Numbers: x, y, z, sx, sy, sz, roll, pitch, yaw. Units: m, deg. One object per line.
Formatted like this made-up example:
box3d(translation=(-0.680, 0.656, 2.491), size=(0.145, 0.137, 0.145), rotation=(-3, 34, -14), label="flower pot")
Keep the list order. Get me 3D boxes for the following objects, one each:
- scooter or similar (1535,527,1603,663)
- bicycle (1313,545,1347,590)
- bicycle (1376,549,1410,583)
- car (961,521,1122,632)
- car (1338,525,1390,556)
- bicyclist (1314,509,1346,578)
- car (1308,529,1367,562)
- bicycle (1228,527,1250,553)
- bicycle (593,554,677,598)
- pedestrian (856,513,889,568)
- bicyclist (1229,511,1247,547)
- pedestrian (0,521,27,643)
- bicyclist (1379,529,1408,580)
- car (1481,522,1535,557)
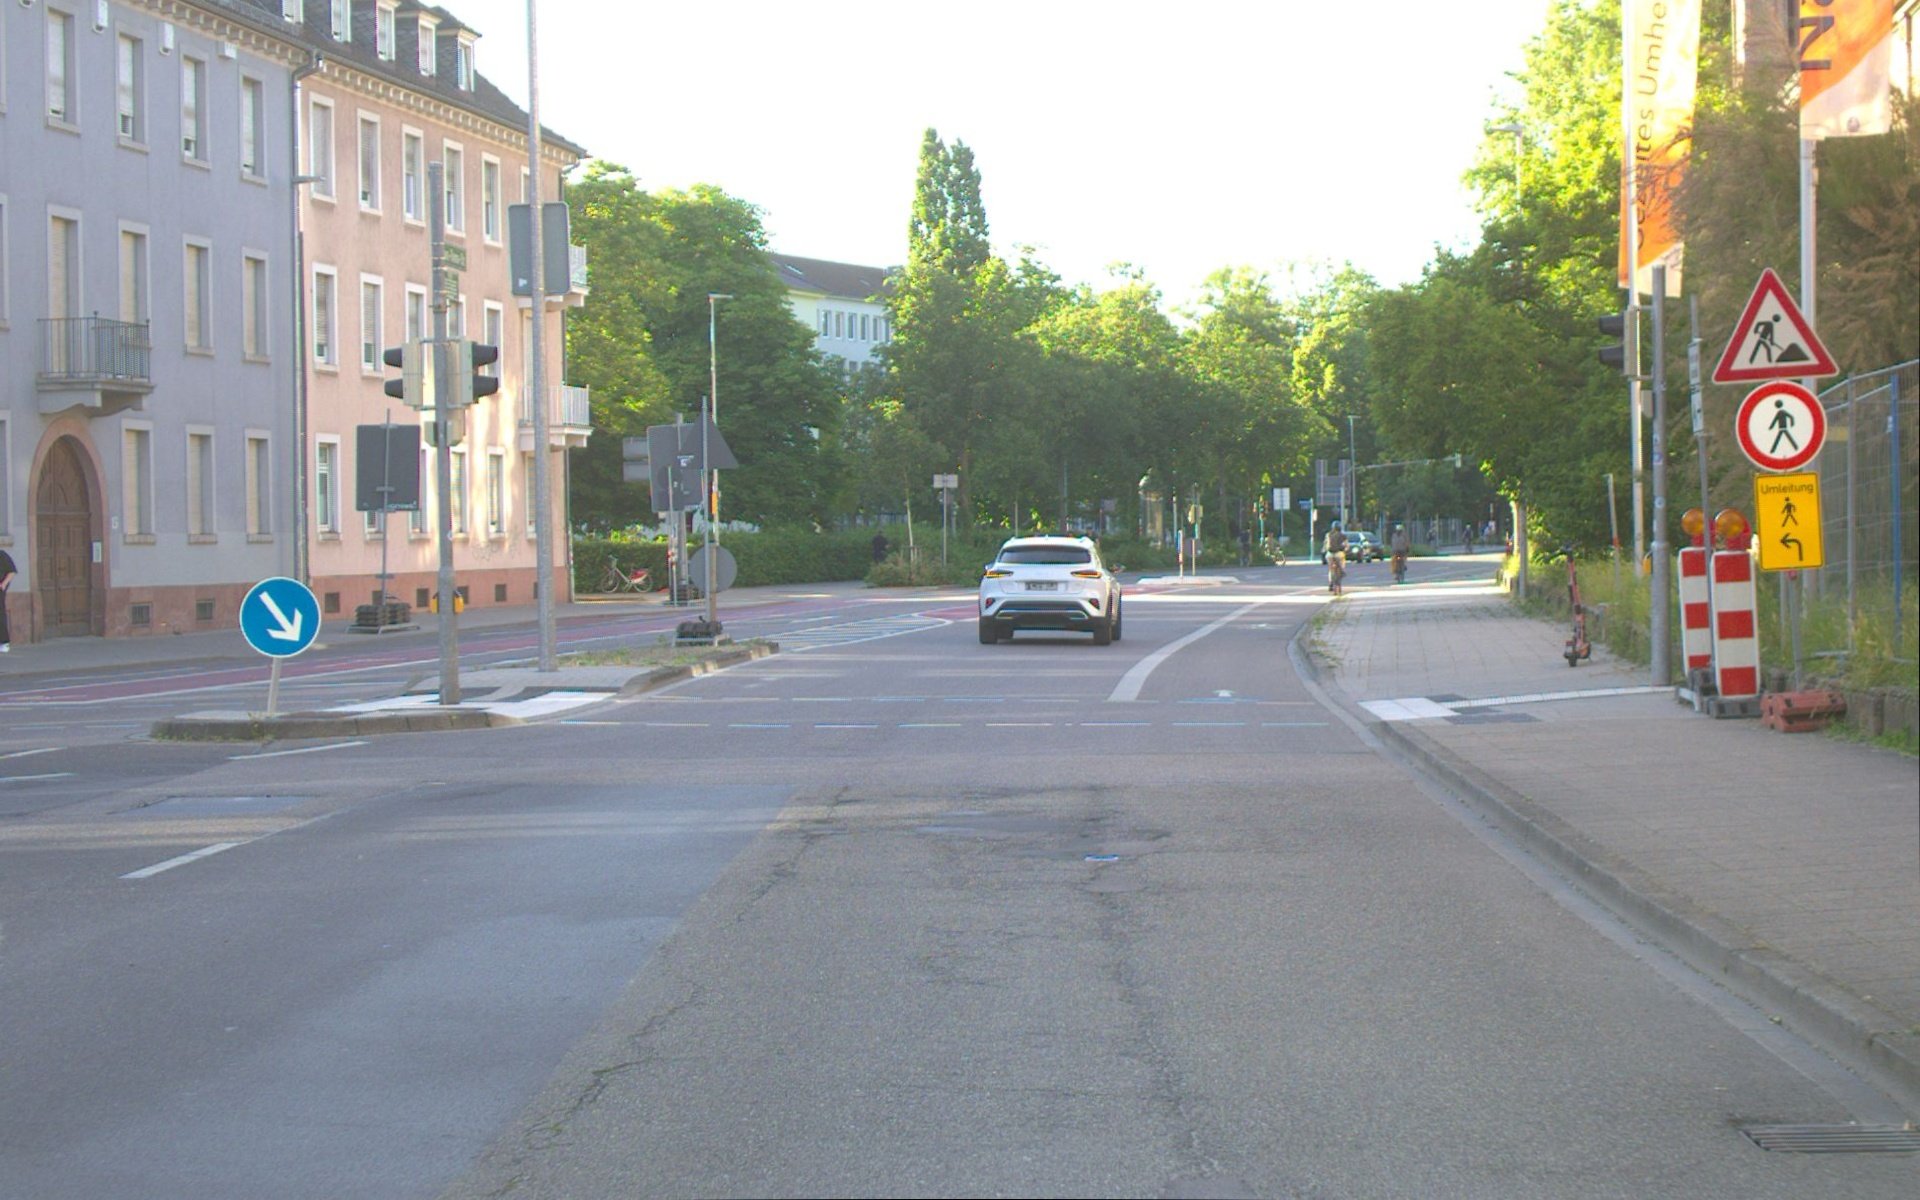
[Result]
box3d(translation=(6.081, -0.063, 34.366), size=(0.555, 1.304, 1.832), rotation=(-1, 1, 7), label="scooter or similar")
box3d(translation=(8.605, -0.762, 79.936), size=(0.643, 1.021, 2.212), rotation=(1, 1, 10), label="bicycle")
box3d(translation=(13.106, -1.032, 104.017), size=(0.753, 1.022, 1.868), rotation=(0, 1, 16), label="bicycle")
box3d(translation=(1.199, -0.350, 48.517), size=(1.994, 1.448, 3.999), rotation=(-1, 1, 5), label="car")
box3d(translation=(19.728, -2.894, 167.649), size=(1.759, 1.454, 3.997), rotation=(-1, 1, 18), label="car")
box3d(translation=(8.602, -1.315, 79.927), size=(0.636, 1.609, 1.283), rotation=(0, 1, 10), label="bicyclist")
box3d(translation=(17.114, -2.491, 155.687), size=(1.813, 1.415, 4.551), rotation=(-1, 1, 17), label="car")
box3d(translation=(12.328, -2.645, 151.840), size=(0.597, 1.117, 2.026), rotation=(-4, 0, 13), label="bicycle")
box3d(translation=(-9.412, -0.700, 99.548), size=(2.321, 1.225, 0.560), rotation=(-1, 1, 15), label="bicycle")
box3d(translation=(-2.980, -2.028, 117.385), size=(0.856, 1.845, 1.001), rotation=(-1, 1, 14), label="pedestrian")
box3d(translation=(12.288, -3.141, 151.899), size=(0.629, 1.517, 0.724), rotation=(-4, 1, 13), label="bicyclist")
box3d(translation=(-14.788, -0.281, 52.569), size=(0.631, 1.840, 1.013), rotation=(2, 1, 8), label="pedestrian")
box3d(translation=(13.123, -1.390, 104.105), size=(0.748, 1.532, 0.969), rotation=(0, 1, 16), label="bicyclist")
box3d(translation=(24.868, -2.748, 155.982), size=(1.930, 1.528, 3.997), rotation=(-1, 1, 16), label="car")
